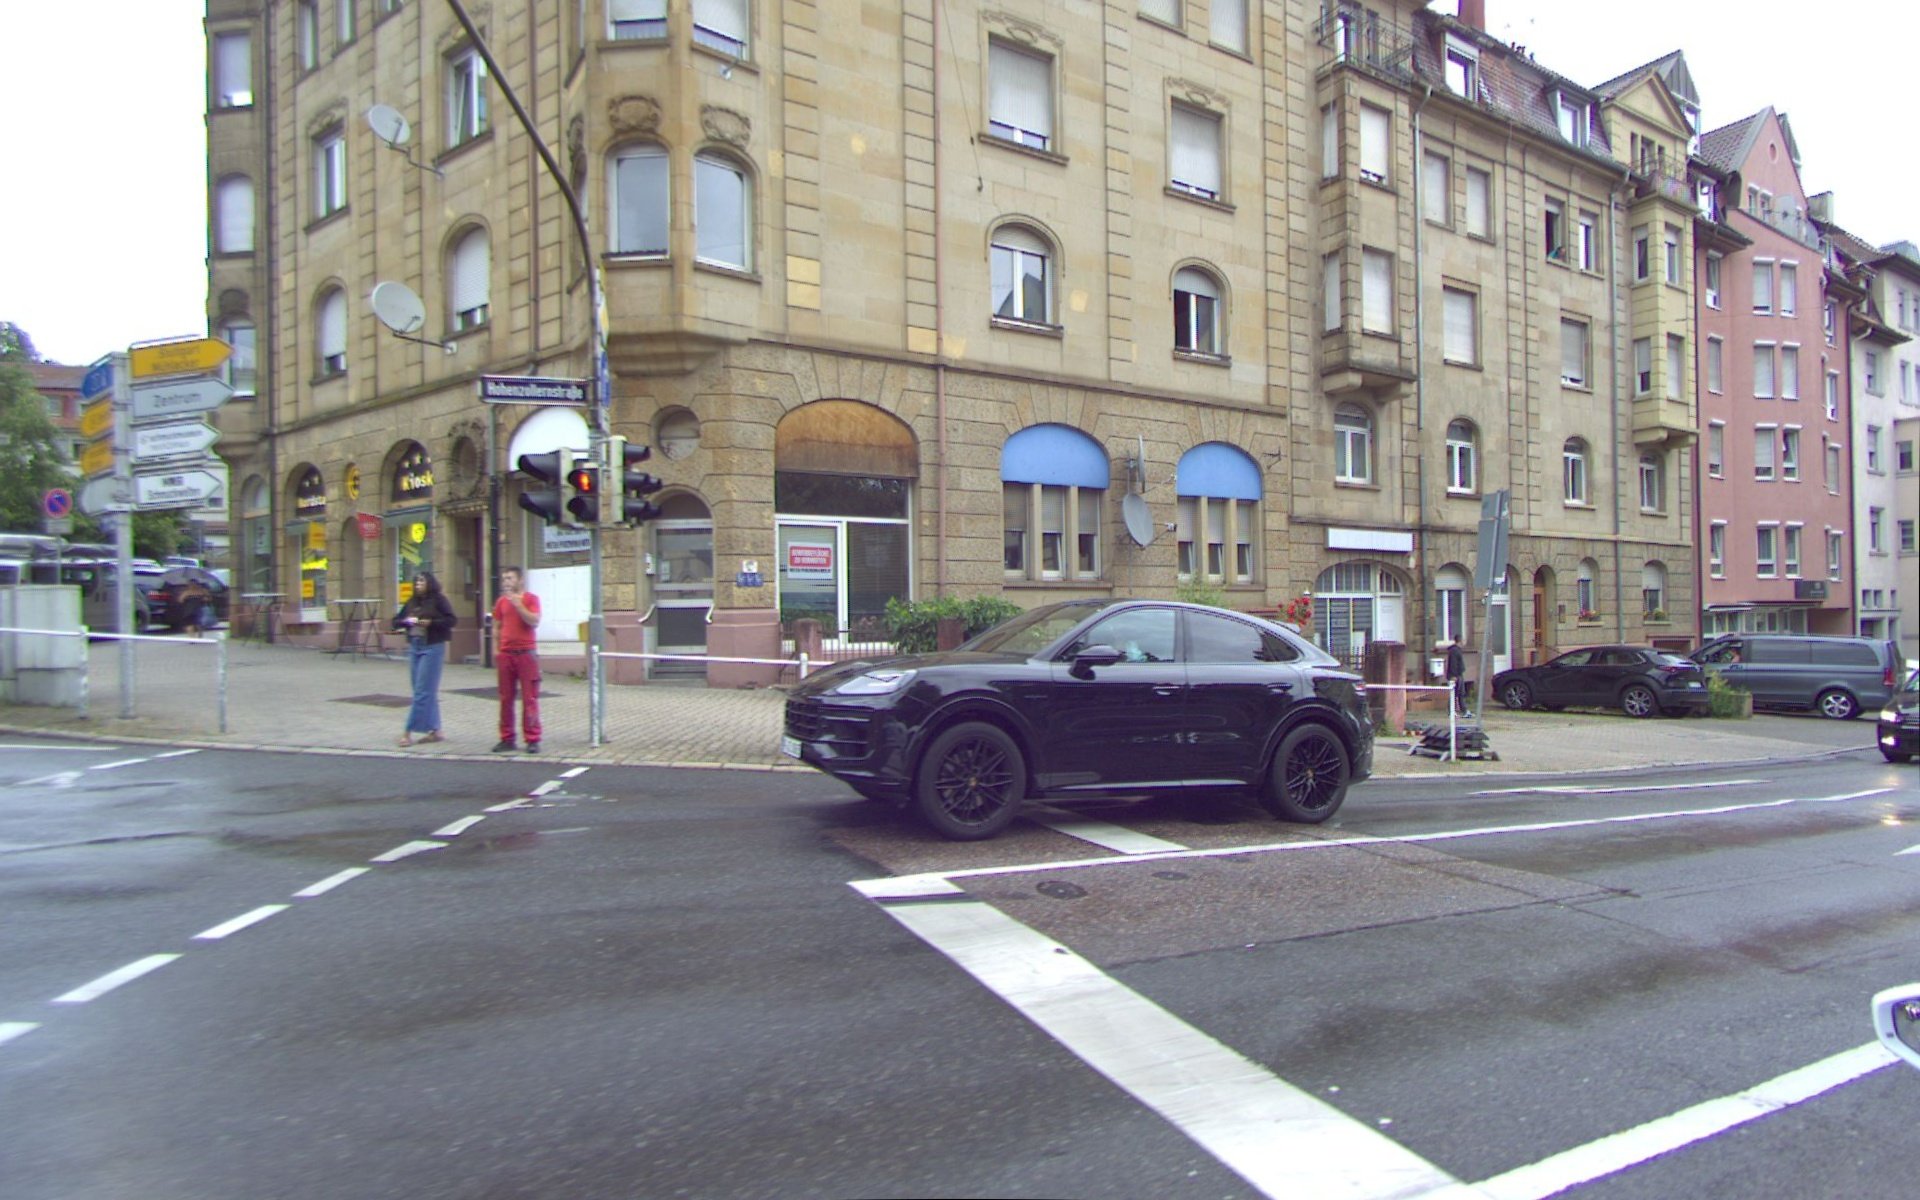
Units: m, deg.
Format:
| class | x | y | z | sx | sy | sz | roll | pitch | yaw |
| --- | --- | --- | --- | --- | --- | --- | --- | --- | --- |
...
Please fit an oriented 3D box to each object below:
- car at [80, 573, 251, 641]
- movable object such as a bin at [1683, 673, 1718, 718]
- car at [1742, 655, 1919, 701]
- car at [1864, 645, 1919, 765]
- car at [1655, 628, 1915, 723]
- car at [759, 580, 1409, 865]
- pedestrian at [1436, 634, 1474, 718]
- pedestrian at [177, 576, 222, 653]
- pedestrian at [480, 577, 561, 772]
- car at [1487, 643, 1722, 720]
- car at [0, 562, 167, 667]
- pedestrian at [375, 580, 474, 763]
| class | x | y | z | sx | sy | sz | roll | pitch | yaw |
| --- | --- | --- | --- | --- | --- | --- | --- | --- | --- |
| car | -21.977 | 0.211 | 28.039 | 1.965 | 1.727 | 4.372 | 1 | -1 | -12 |
| movable object such as a bin | 16.760 | 2.154 | 22.743 | 0.435 | 0.963 | 0.503 | 1 | -1 | -26 |
| car | 29.382 | 2.590 | 33.792 | 1.747 | 1.419 | 4.526 | 1 | -4 | -31 |
| car | 15.376 | 1.493 | 14.897 | 4.368 | 1.670 | 1.614 | 1 | -5 | -31 |
| car | 19.829 | 1.711 | 24.334 | 1.848 | 1.964 | 4.635 | 1 | 0 | -40 |
| car | 0.994 | 0.847 | 7.898 | 4.740 | 1.715 | 1.961 | 2 | -2 | -23 |
| pedestrian | 10.750 | 1.635 | 21.815 | 0.557 | 1.801 | 0.476 | 1 | 0 | -23 |
| pedestrian | -17.025 | 0.321 | 22.497 | 0.776 | 1.683 | 0.663 | 1 | 0 | -37 |
| pedestrian | -4.217 | 0.689 | 9.645 | 0.684 | 1.797 | 0.521 | 1 | 0 | -25 |
| car | 14.542 | 1.769 | 22.901 | 1.851 | 1.530 | 4.127 | 1 | -2 | -31 |
| car | -20.977 | 0.316 | 23.371 | 1.965 | 2.197 | 4.793 | 1 | -1 | -12 |
| pedestrian | -5.284 | 0.679 | 9.945 | 0.818 | 1.725 | 0.634 | 1 | 0 | -28 |
